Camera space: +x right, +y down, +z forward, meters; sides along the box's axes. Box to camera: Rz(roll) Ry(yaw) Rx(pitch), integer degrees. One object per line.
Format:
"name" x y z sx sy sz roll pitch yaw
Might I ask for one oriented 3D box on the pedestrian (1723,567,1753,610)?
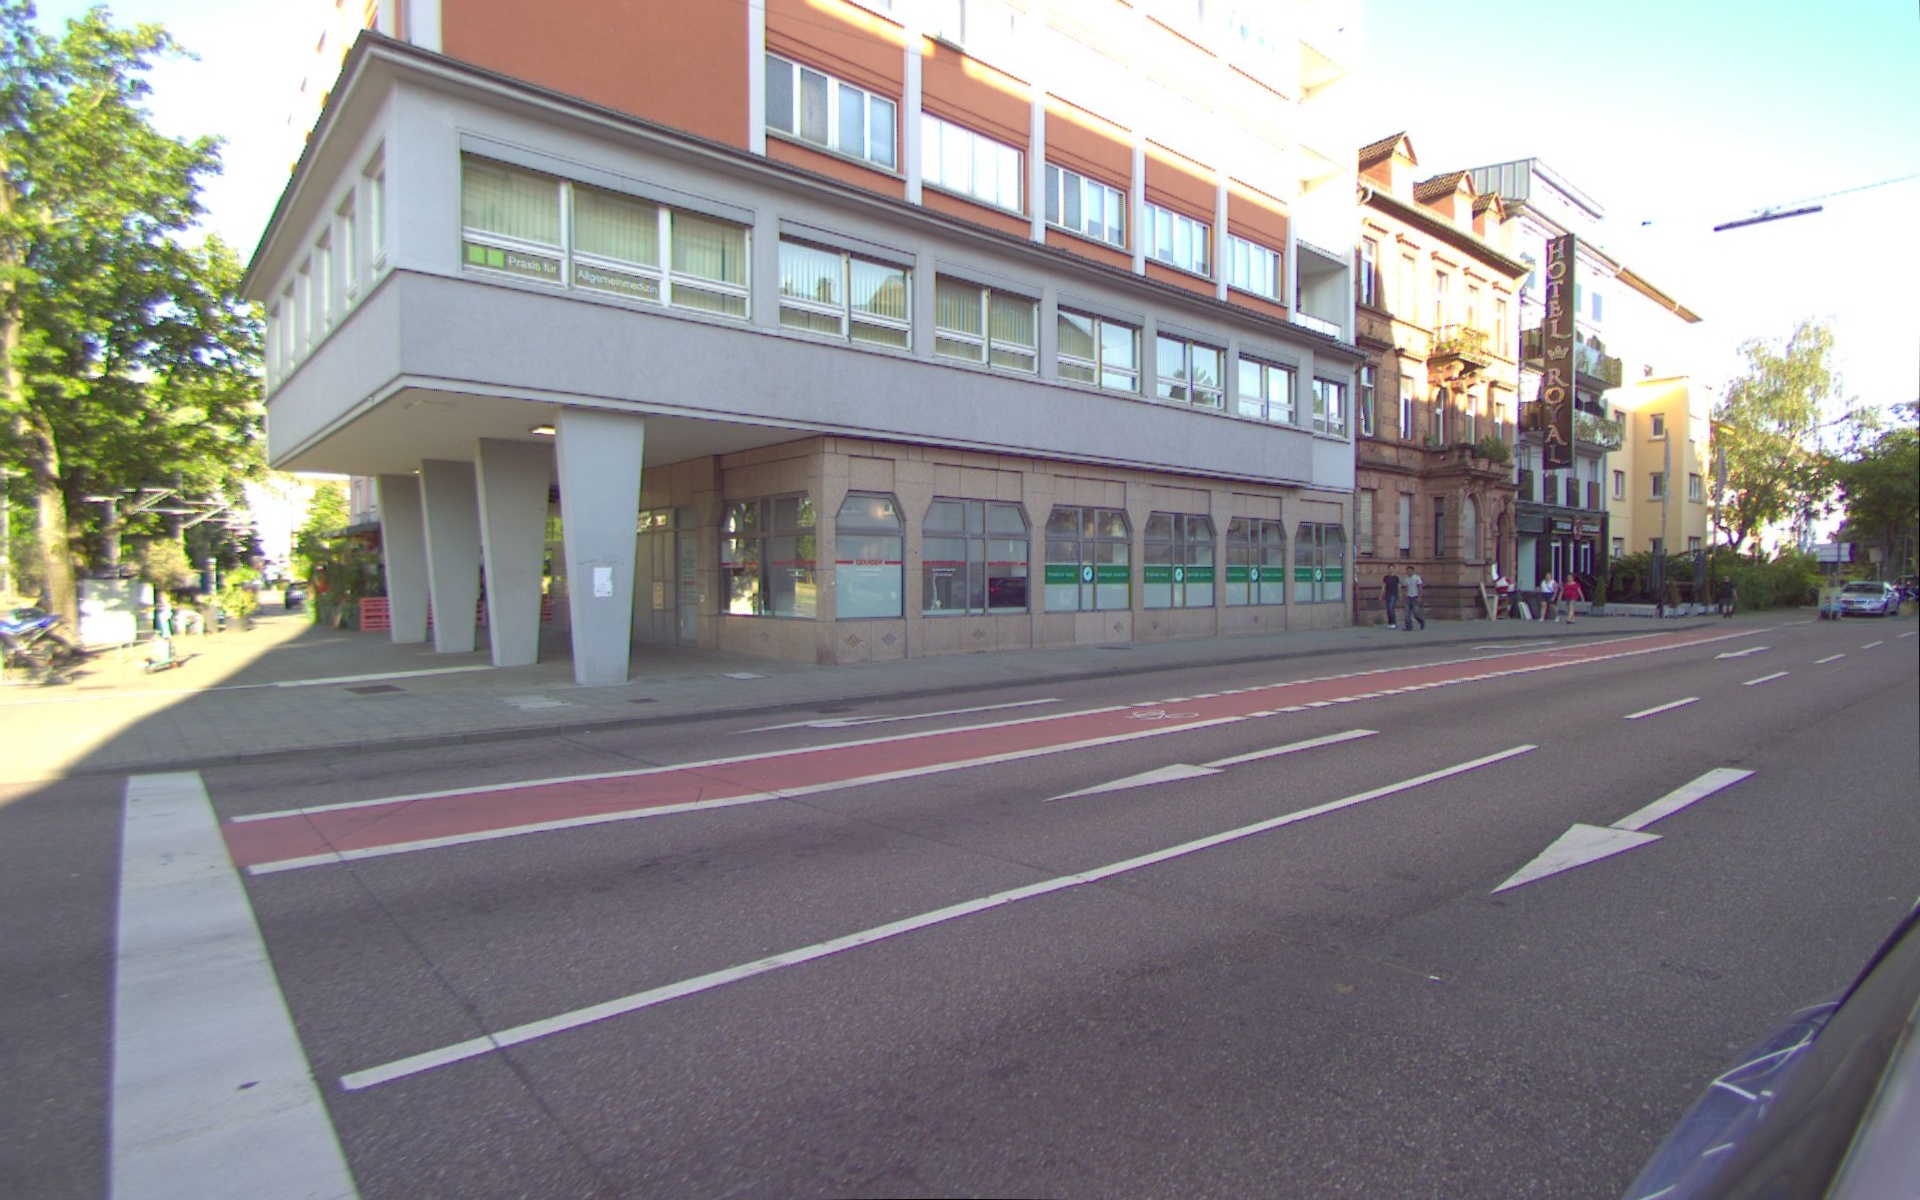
"pedestrian" 30.356 -0.474 39.482 0.737 1.621 0.995 4 4 45

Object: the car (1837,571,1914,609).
"car" 39.209 -0.449 43.312 4.003 1.536 1.905 -1 2 -40

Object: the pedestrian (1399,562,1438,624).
"pedestrian" 13.171 -0.212 29.083 0.993 1.747 0.667 -1 1 -40

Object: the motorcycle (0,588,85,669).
"motorcycle" -17.310 0.519 18.218 0.839 1.410 2.236 -1 0 37

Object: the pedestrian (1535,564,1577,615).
"pedestrian" 19.811 -0.369 33.655 0.992 1.607 0.787 -1 5 -36

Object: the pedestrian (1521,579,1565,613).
"pedestrian" 20.218 -0.156 35.091 0.909 1.150 1.099 -1 1 -43

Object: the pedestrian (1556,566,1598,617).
"pedestrian" 20.146 -0.289 33.030 0.992 1.607 0.739 -1 5 -36

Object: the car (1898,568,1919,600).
"car" 51.043 -0.874 53.348 4.121 1.645 1.946 -1 2 -41

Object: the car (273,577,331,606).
"car" -38.008 -0.521 58.535 1.923 1.575 3.882 -1 1 -19

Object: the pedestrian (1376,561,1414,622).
"pedestrian" 12.747 -0.253 29.663 0.993 1.747 0.667 -1 1 -41

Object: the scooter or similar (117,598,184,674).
"scooter or similar" -14.688 0.631 18.396 0.474 1.250 1.565 0 2 -21
